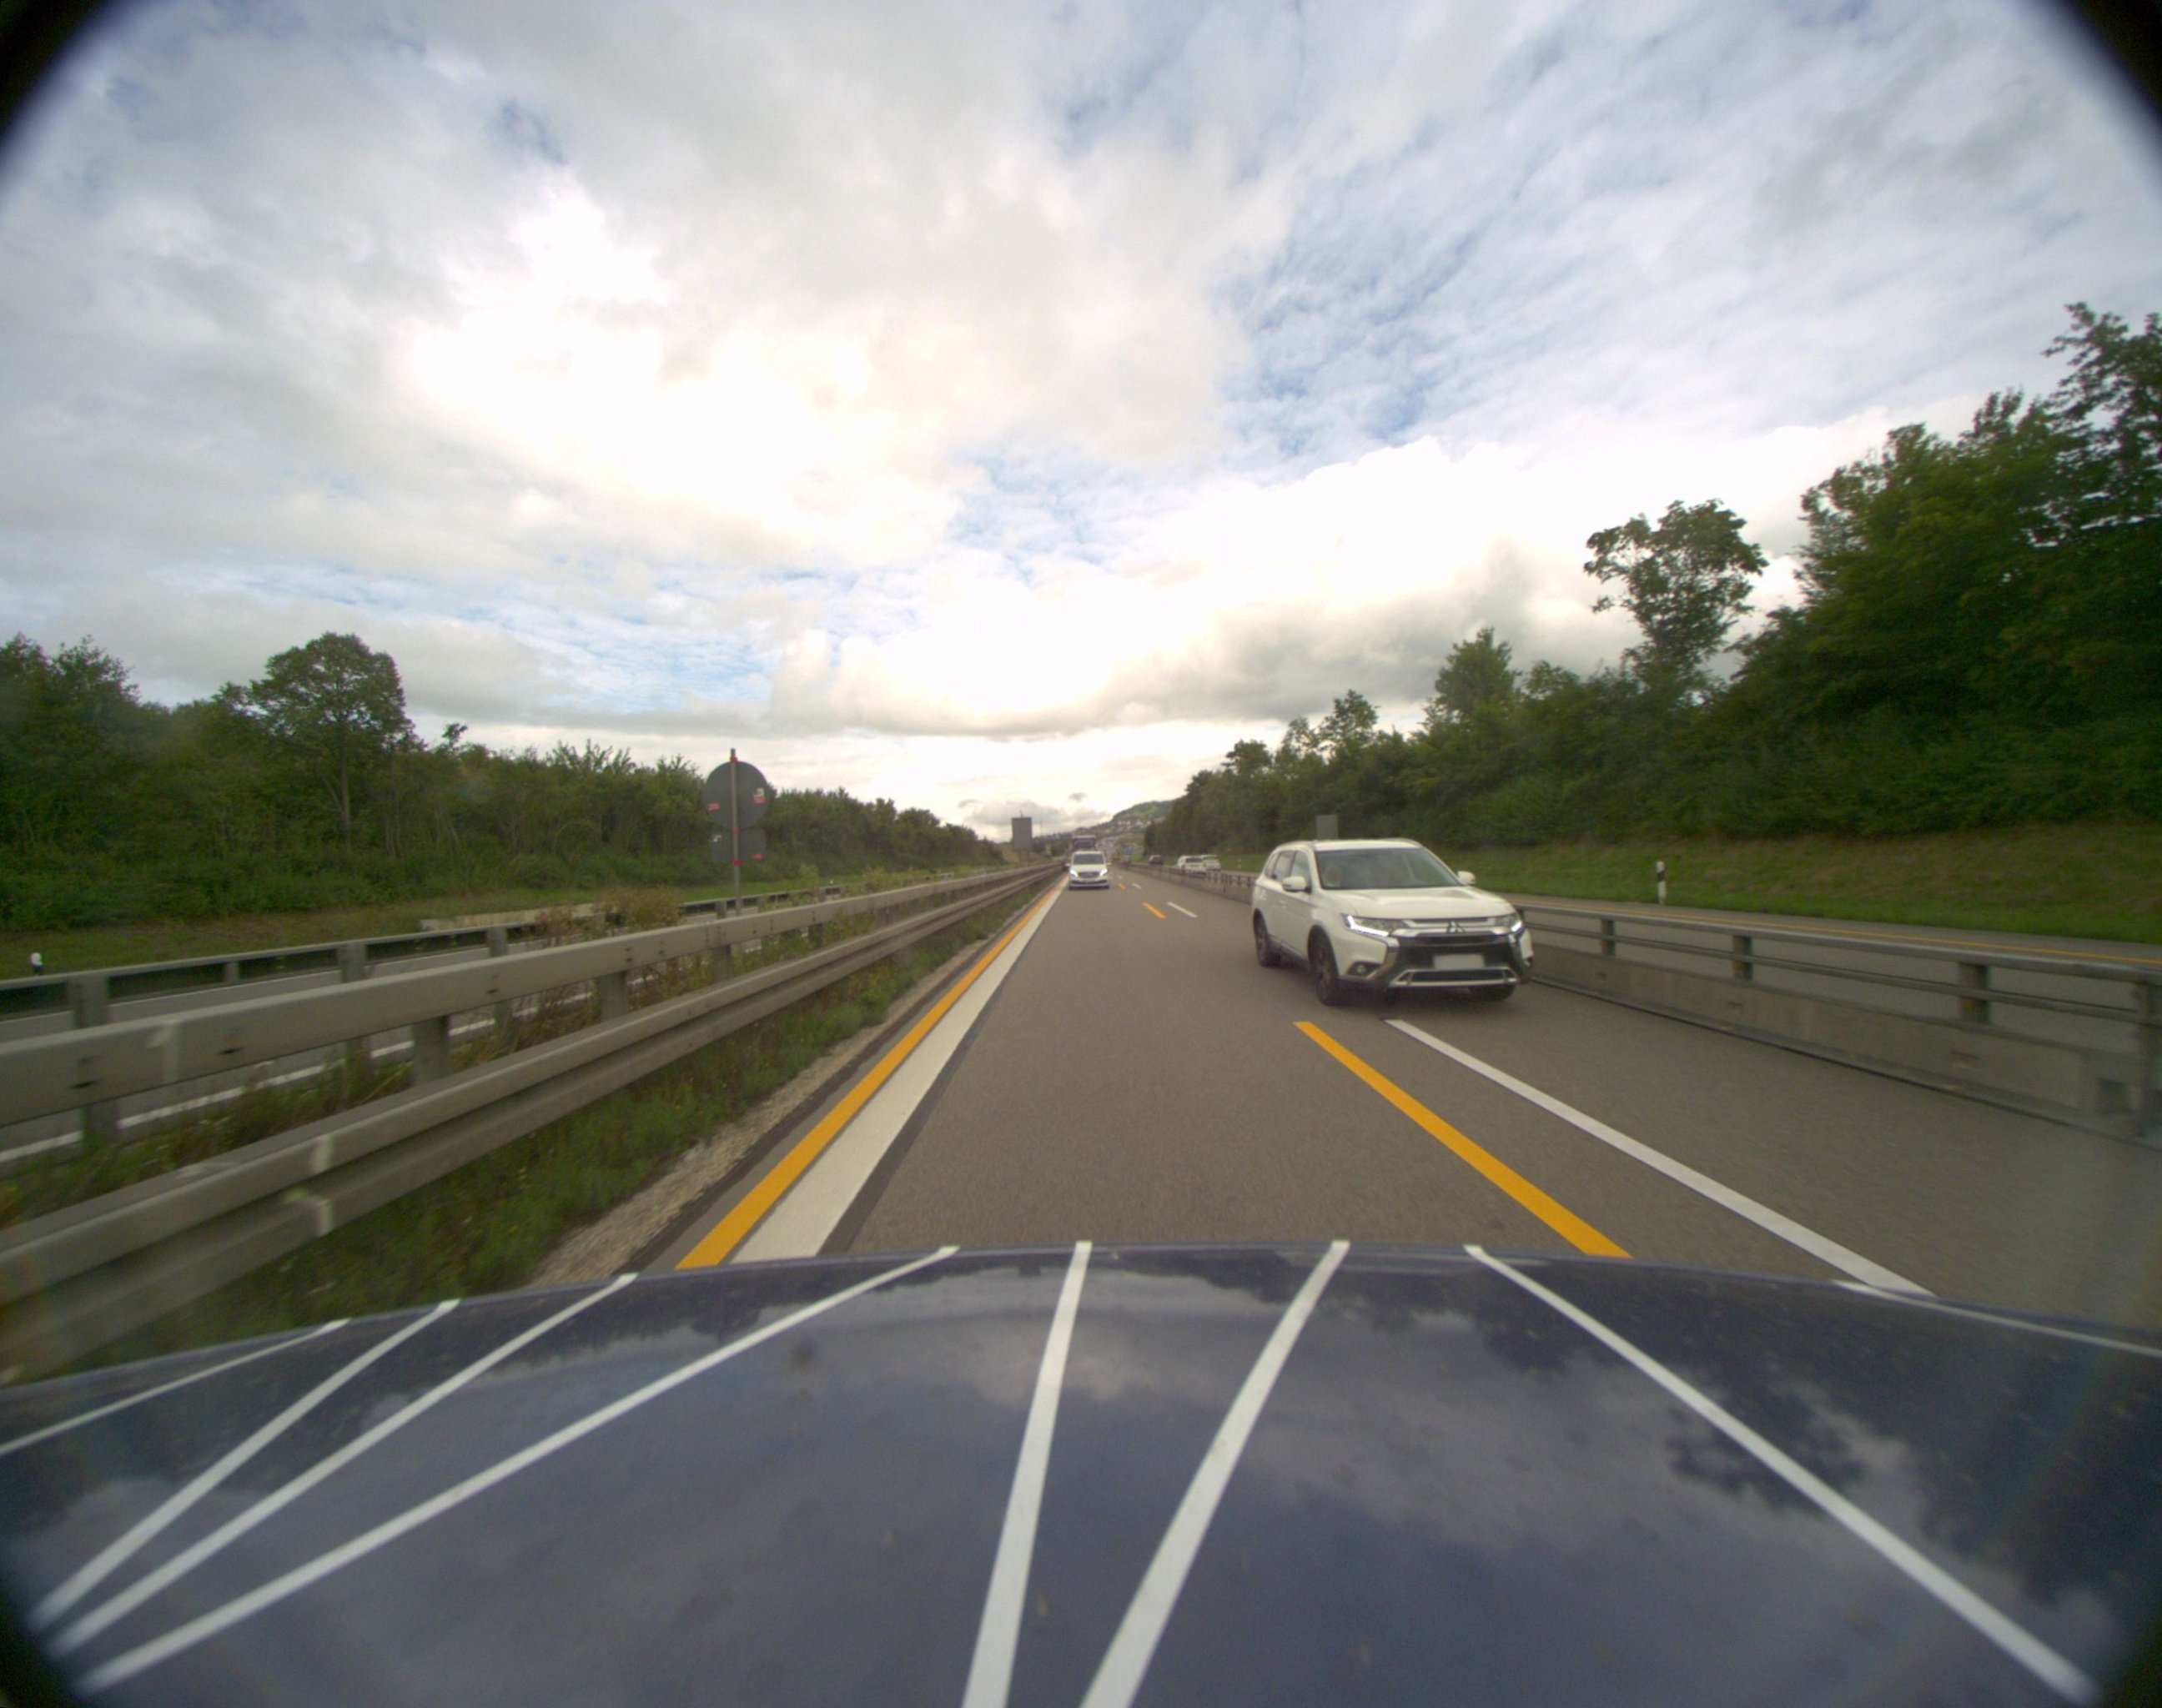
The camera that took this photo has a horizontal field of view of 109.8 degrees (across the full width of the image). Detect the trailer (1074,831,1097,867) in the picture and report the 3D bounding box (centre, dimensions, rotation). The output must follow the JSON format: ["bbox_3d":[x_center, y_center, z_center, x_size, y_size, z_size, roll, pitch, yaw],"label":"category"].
[{"bbox_3d":[0.609,-0.586,92.335,2.521,4.081,11.112,-2,0,1],"label":"trailer"}]

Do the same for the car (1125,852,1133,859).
[{"bbox_3d":[11.542,0.273,181.891,1.685,1.541,3.949,-1,0,0],"label":"car"}]

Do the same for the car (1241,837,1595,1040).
[{"bbox_3d":[3.250,0.690,8.543,1.998,1.618,4.607,-2,0,1],"label":"car"}]

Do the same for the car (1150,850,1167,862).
[{"bbox_3d":[11.084,0.247,109.314,1.998,1.515,5.024,-2,0,1],"label":"car"}]

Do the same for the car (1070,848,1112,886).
[{"bbox_3d":[0.531,0.642,39.488,1.991,1.787,4.585,-2,0,1],"label":"car"}]

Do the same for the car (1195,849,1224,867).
[{"bbox_3d":[11.115,0.311,65.954,1.699,1.445,3.958,-3,0,0],"label":"car"}]

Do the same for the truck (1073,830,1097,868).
[{"bbox_3d":[0.514,-0.564,87.050,2.521,4.081,5.685,-2,1,1],"label":"truck"}]

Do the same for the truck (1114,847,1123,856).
[{"bbox_3d":[11.709,-0.810,239.457,2.496,2.702,6.667,-2,0,1],"label":"truck"}]

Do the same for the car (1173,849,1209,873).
[{"bbox_3d":[7.404,0.452,51.345,1.699,1.445,4.551,-2,0,0],"label":"car"}]
